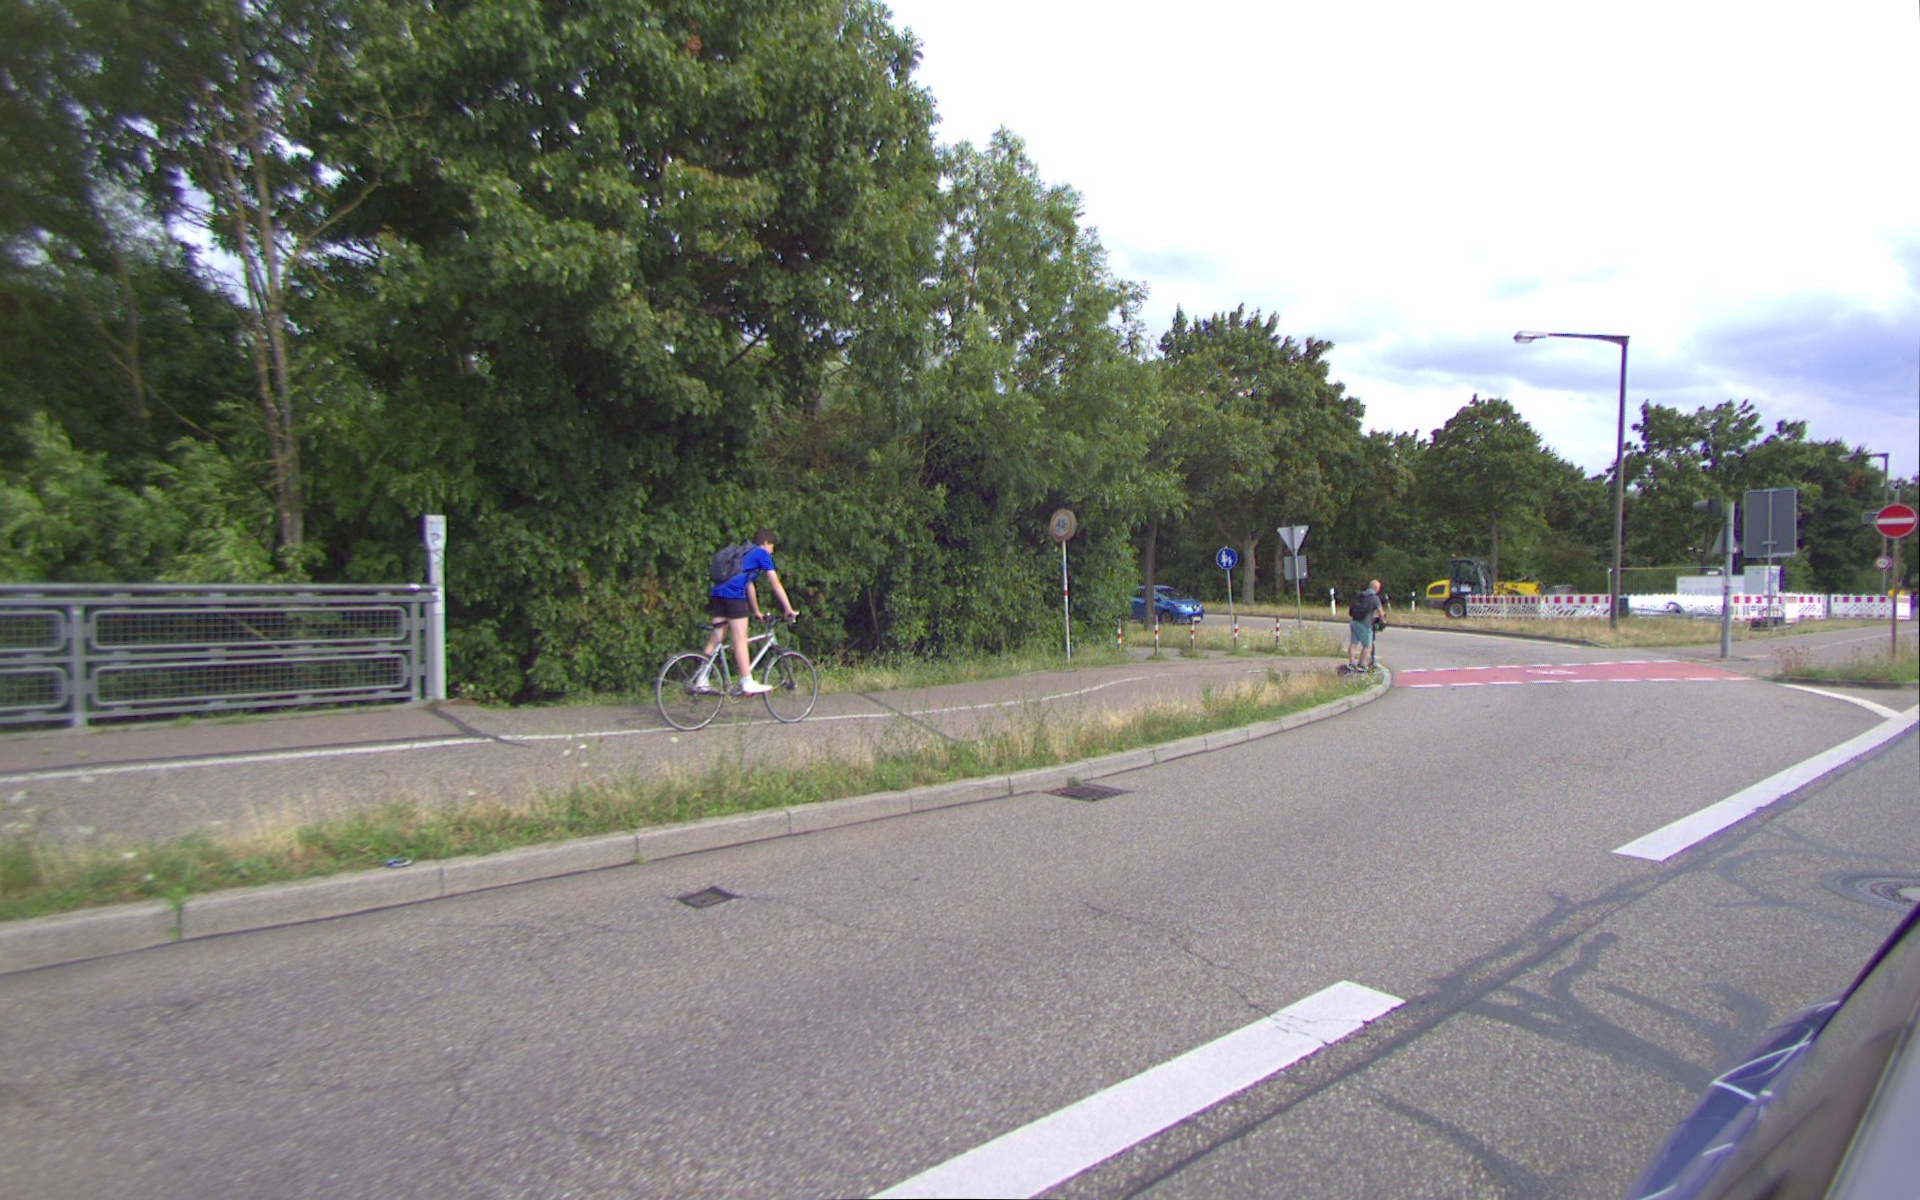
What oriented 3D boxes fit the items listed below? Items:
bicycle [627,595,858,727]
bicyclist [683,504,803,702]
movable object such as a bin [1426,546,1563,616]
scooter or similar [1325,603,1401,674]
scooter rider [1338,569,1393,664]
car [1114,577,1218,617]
[{"bbox_3d":[-1.907,0.519,9.092,1.940,1.034,0.578,2,3,-41],"label":"bicycle"},{"bbox_3d":[-1.943,0.031,9.079,0.791,1.680,0.666,2,-1,-40],"label":"bicyclist"},{"bbox_3d":[21.789,-0.796,41.427,2.062,2.722,4.516,-2,2,-35],"label":"movable object such as a bin"},{"bbox_3d":[7.451,0.691,18.713,1.177,1.239,0.591,-1,1,-13],"label":"scooter or similar"},{"bbox_3d":[7.478,0.290,18.671,0.728,1.711,0.590,-1,1,-13],"label":"scooter rider"},{"bbox_3d":[8.361,-0.157,41.325,1.844,1.536,4.001,-2,2,-34],"label":"car"}]
